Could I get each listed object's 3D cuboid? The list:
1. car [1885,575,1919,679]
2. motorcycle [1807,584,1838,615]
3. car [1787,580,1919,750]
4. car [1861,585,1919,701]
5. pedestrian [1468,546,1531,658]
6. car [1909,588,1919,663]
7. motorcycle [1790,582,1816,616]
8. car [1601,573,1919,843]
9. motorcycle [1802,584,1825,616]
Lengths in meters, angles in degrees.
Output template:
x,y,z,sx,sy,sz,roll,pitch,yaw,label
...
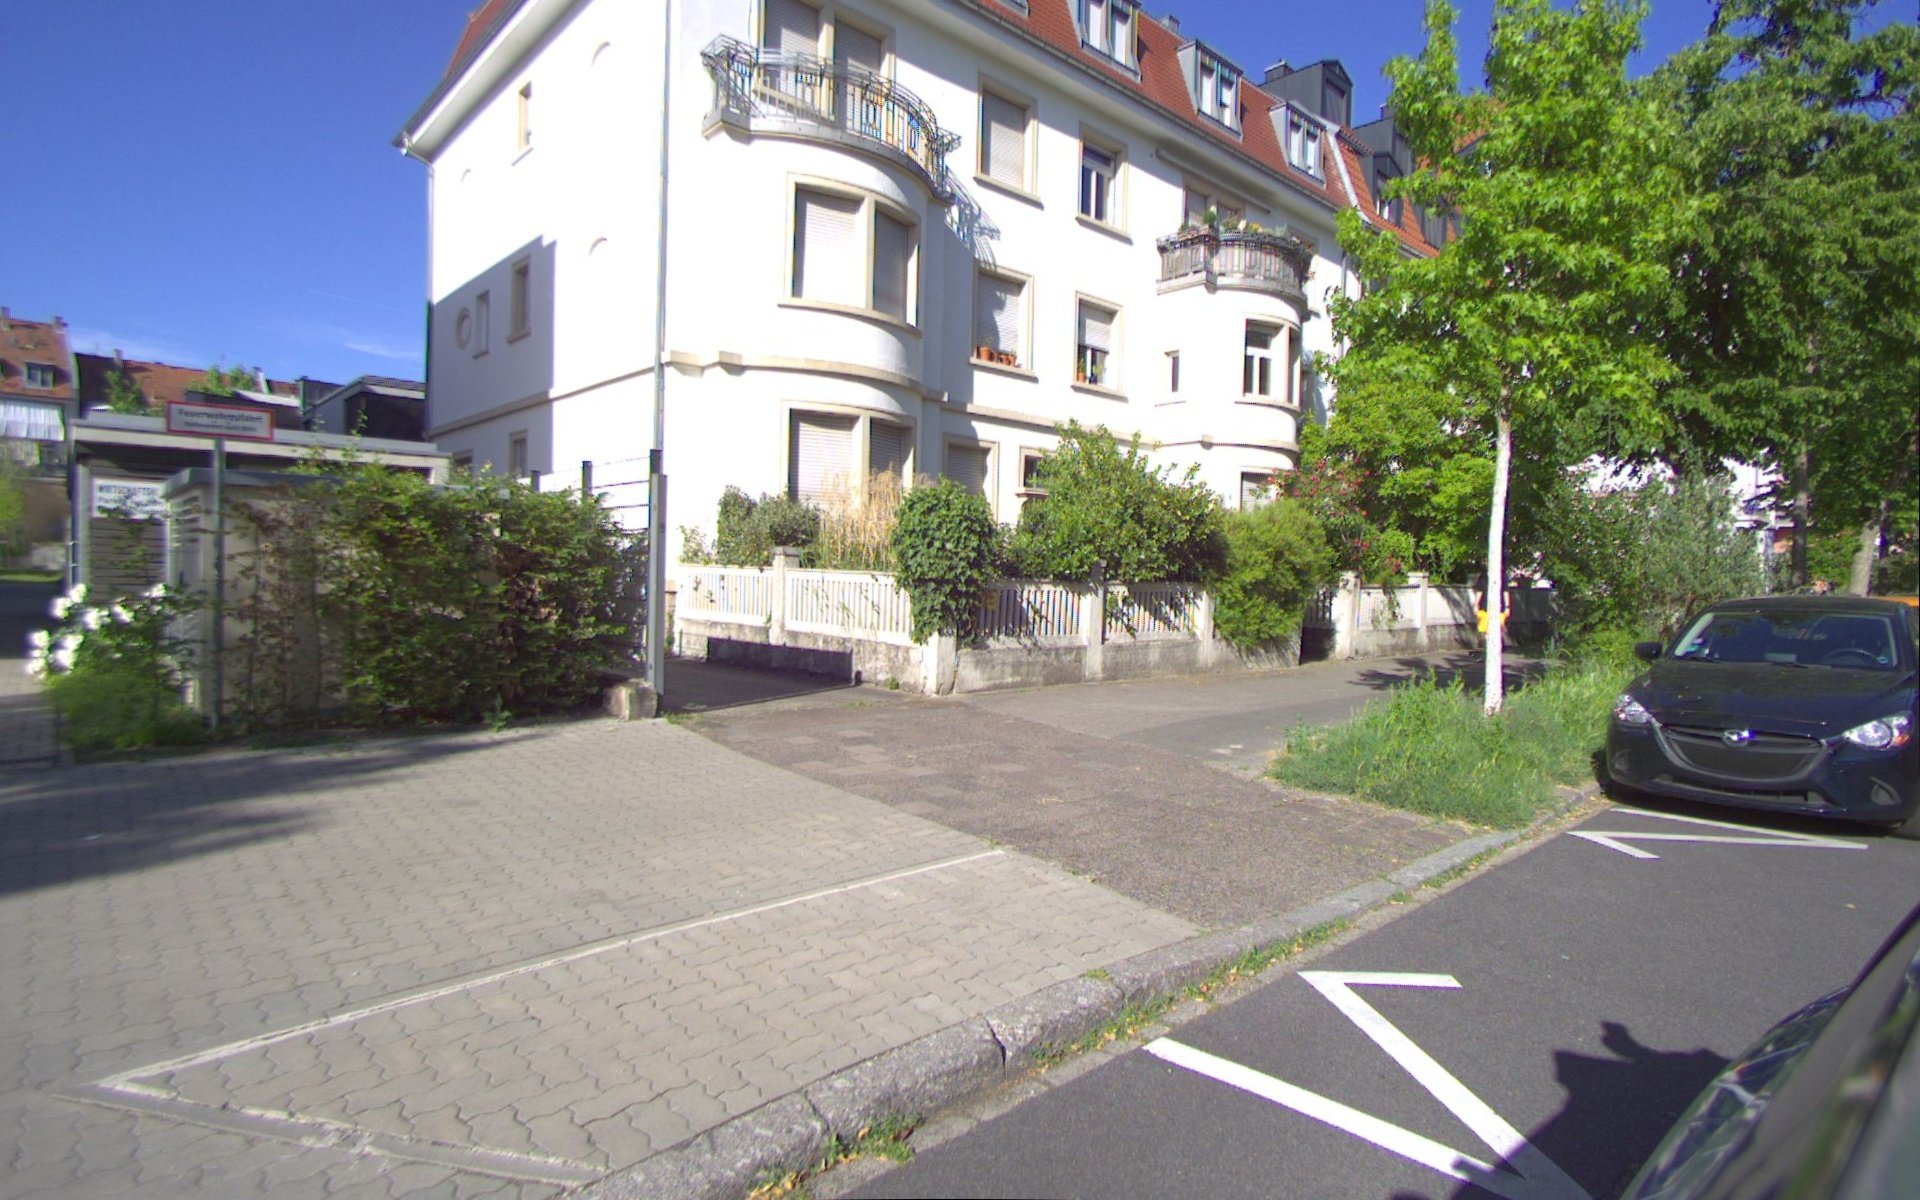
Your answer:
x,y,z,sx,sy,sz,roll,pitch,yaw,label
17.065,0.438,17.340,1.649,1.676,3.785,2,2,44,car
37.991,-0.035,44.580,0.970,1.345,1.825,2,2,42,motorcycle
9.885,0.571,10.353,4.030,1.472,1.639,0,2,-43,car
13.525,0.553,13.747,3.553,1.446,1.651,0,3,-45,car
8.942,0.024,16.781,0.786,1.796,0.623,0,3,-42,pedestrian
20.477,0.516,20.370,4.293,1.442,1.632,0,3,-42,car
34.860,-0.047,41.842,2.054,1.378,0.540,0,2,-43,motorcycle
6.393,0.582,7.528,4.012,1.467,1.703,0,3,-42,car
36.587,-0.012,43.393,0.656,1.295,1.774,5,4,41,motorcycle
